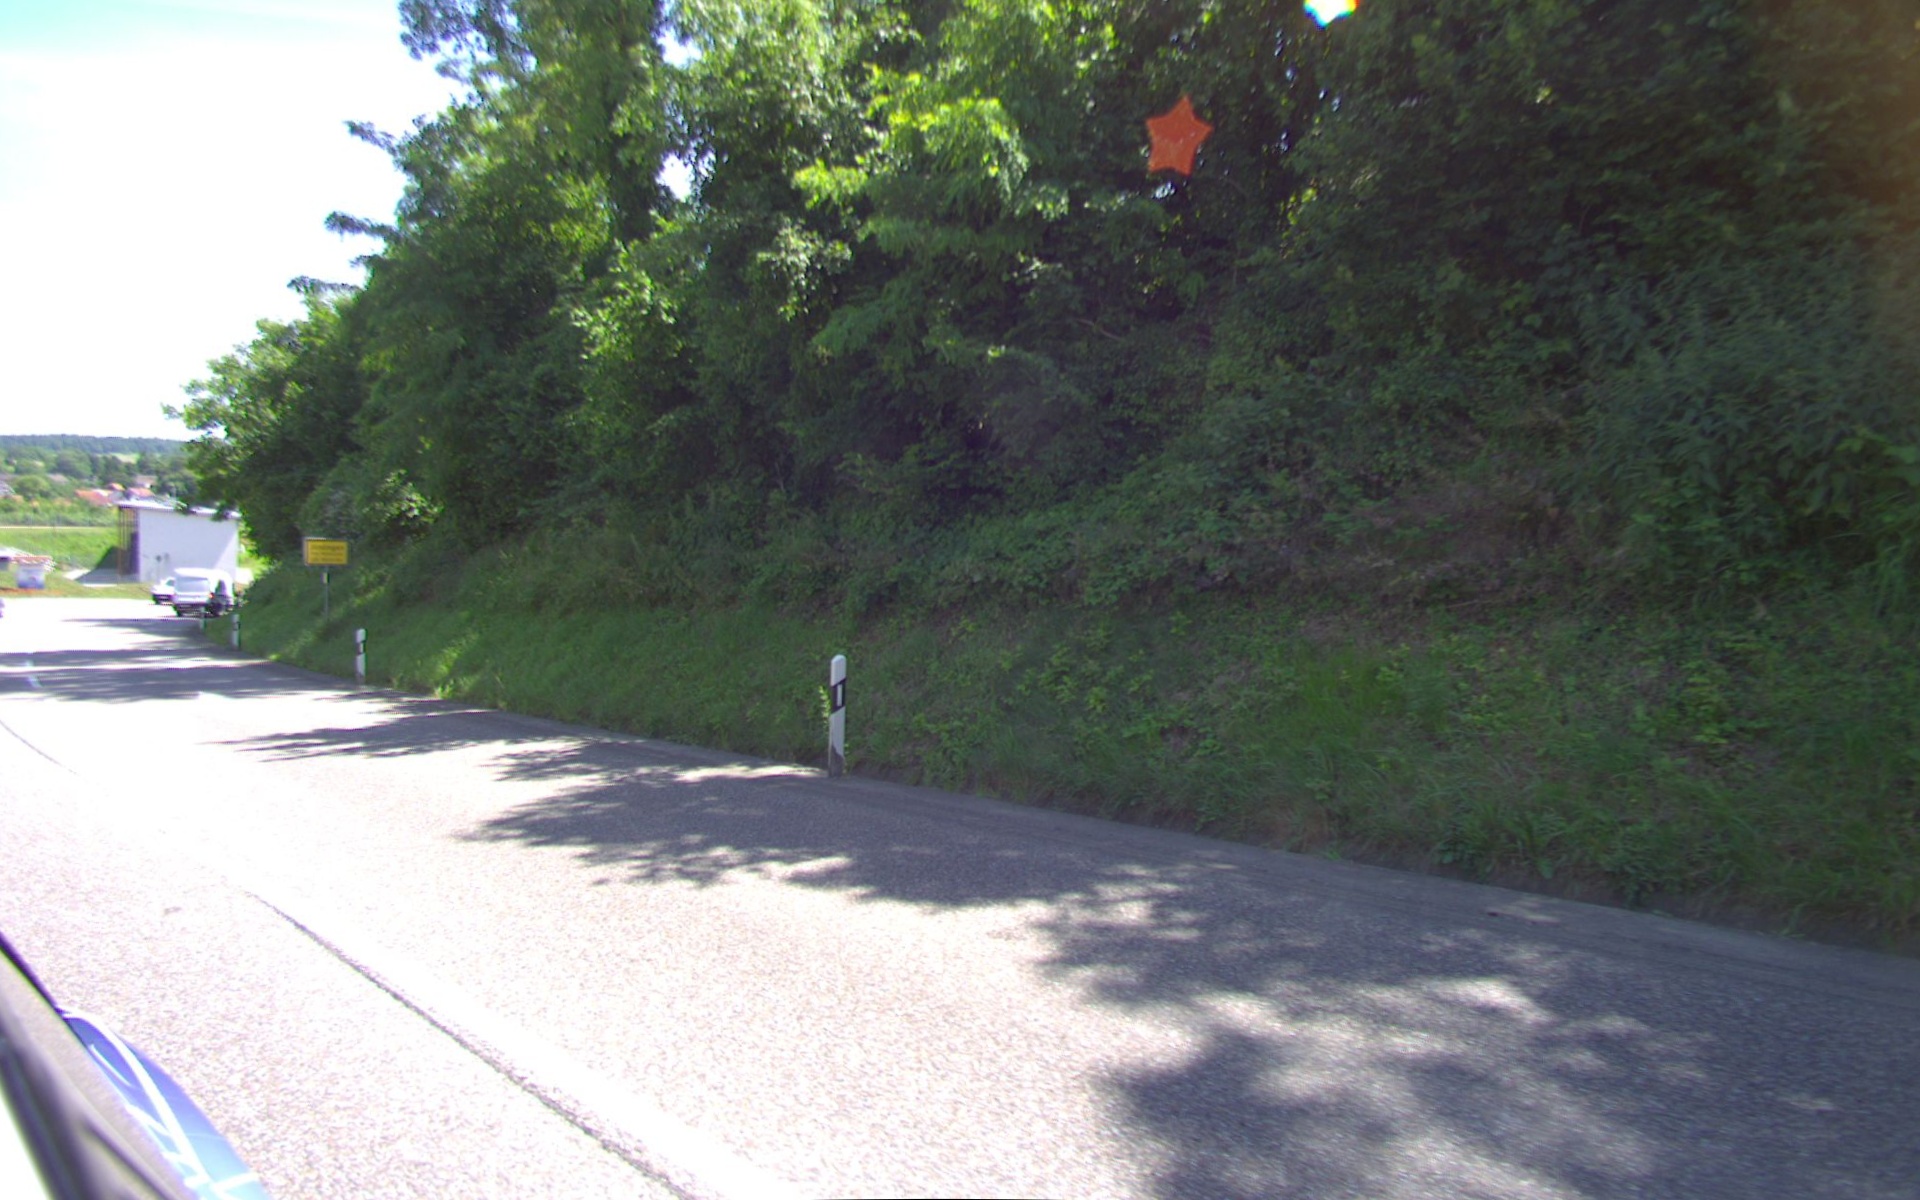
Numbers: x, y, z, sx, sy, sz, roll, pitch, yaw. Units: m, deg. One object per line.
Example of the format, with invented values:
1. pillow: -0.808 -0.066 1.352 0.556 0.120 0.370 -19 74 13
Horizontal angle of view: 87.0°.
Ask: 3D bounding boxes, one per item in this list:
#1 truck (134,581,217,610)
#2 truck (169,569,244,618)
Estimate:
1. truck: -55.737 -0.351 72.052 2.042 2.028 5.248 1 1 -2
2. truck: -44.812 -0.330 60.337 2.024 2.707 6.001 2 -1 -22
